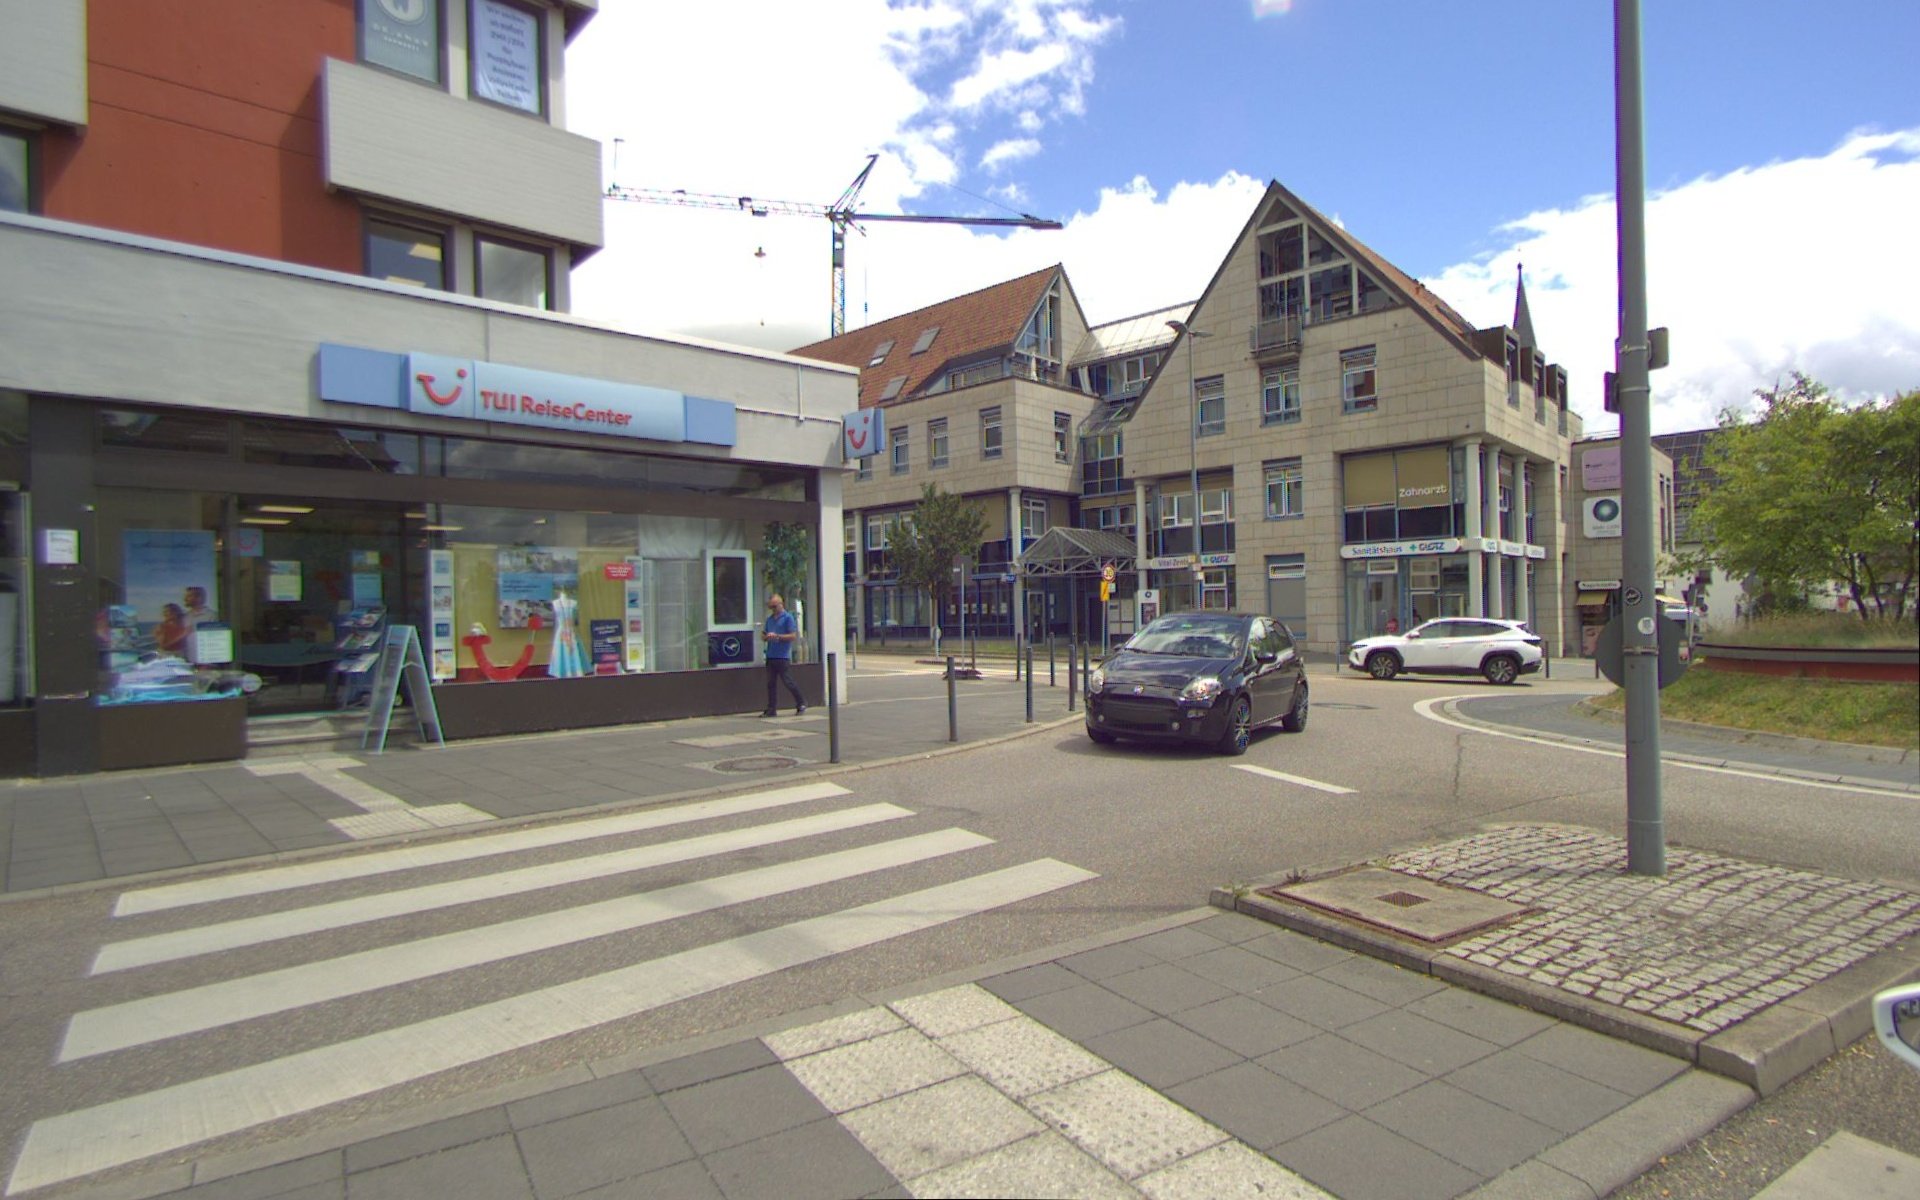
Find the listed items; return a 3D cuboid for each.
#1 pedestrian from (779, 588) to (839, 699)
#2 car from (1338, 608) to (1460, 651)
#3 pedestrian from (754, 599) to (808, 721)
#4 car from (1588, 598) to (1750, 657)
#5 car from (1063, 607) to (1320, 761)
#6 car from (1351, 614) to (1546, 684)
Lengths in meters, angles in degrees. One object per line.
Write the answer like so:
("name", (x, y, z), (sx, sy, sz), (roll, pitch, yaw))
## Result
("pedestrian", (-2.670, 0.755, 17.750), (0.671, 1.900, 0.801), (0, -1, 42))
("car", (17.109, 1.194, 39.374), (1.824, 1.597, 4.243), (0, -3, -25))
("pedestrian", (-2.436, 0.805, 13.702), (0.557, 1.625, 0.606), (0, 0, 9))
("car", (34.544, 1.327, 49.205), (6.190, 2.593, 2.204), (1, -3, 28))
("car", (2.860, 0.845, 11.698), (1.674, 1.438, 4.109), (0, -1, 32))
("car", (12.326, 1.204, 25.582), (4.292, 1.601, 1.863), (0, -2, 25))
